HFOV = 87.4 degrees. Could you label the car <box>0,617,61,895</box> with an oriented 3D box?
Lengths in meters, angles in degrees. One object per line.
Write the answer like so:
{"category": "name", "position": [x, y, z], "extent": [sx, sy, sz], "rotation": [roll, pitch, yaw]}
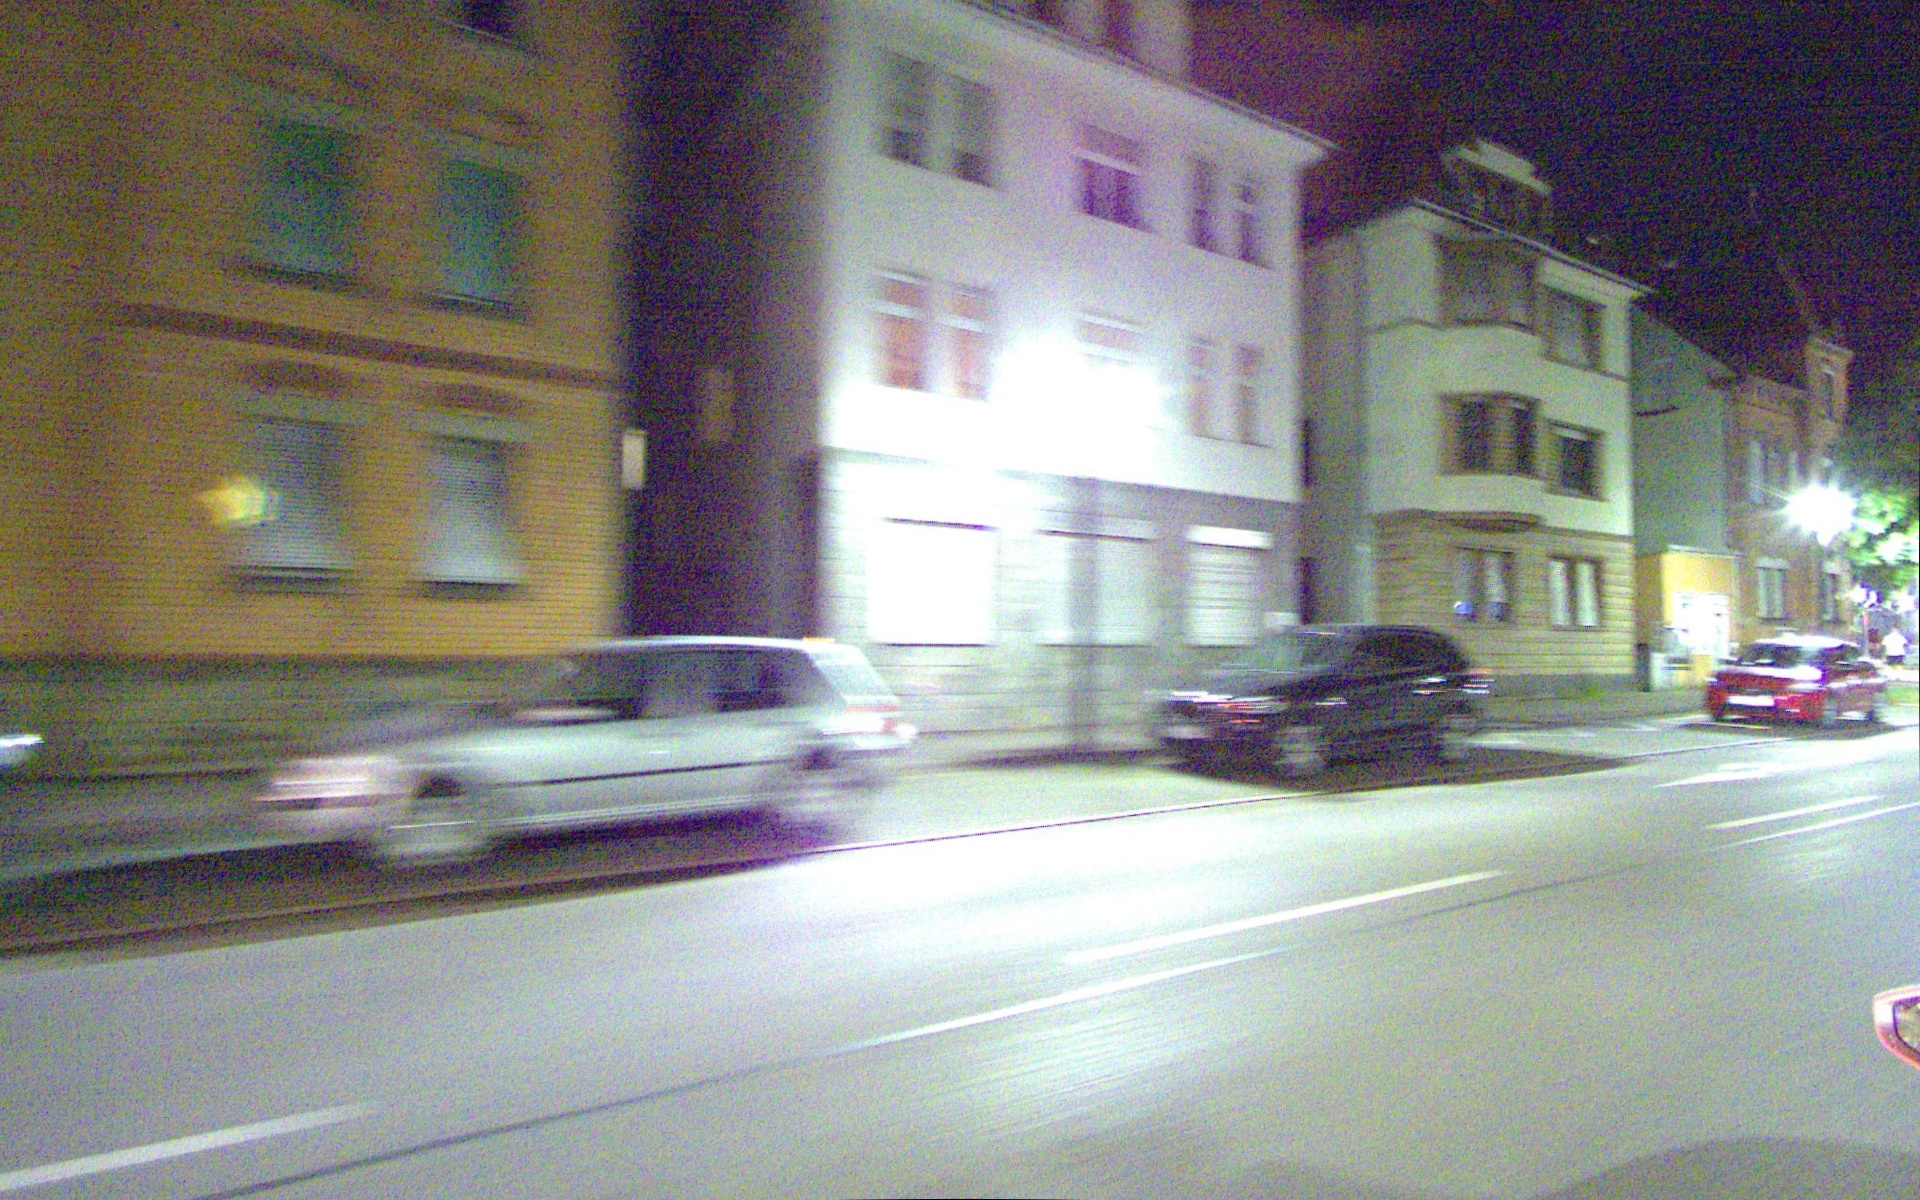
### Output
{"category": "car", "position": [-7.266, 0.836, 4.689], "extent": [4.280, 1.511, 1.775], "rotation": [1, 0, -31]}

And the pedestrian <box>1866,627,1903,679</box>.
{"category": "pedestrian", "position": [33.357, 1.898, 36.248], "extent": [0.711, 1.845, 0.693], "rotation": [1, -2, 13]}

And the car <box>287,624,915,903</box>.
{"category": "car", "position": [-2.490, 0.964, 7.391], "extent": [3.954, 1.511, 1.776], "rotation": [1, 0, -31]}

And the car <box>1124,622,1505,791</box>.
{"category": "car", "position": [4.187, 1.097, 11.695], "extent": [4.358, 1.603, 1.776], "rotation": [1, 0, -30]}

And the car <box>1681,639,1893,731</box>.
{"category": "car", "position": [14.863, 1.436, 18.011], "extent": [4.081, 1.434, 1.775], "rotation": [1, -1, -33]}
